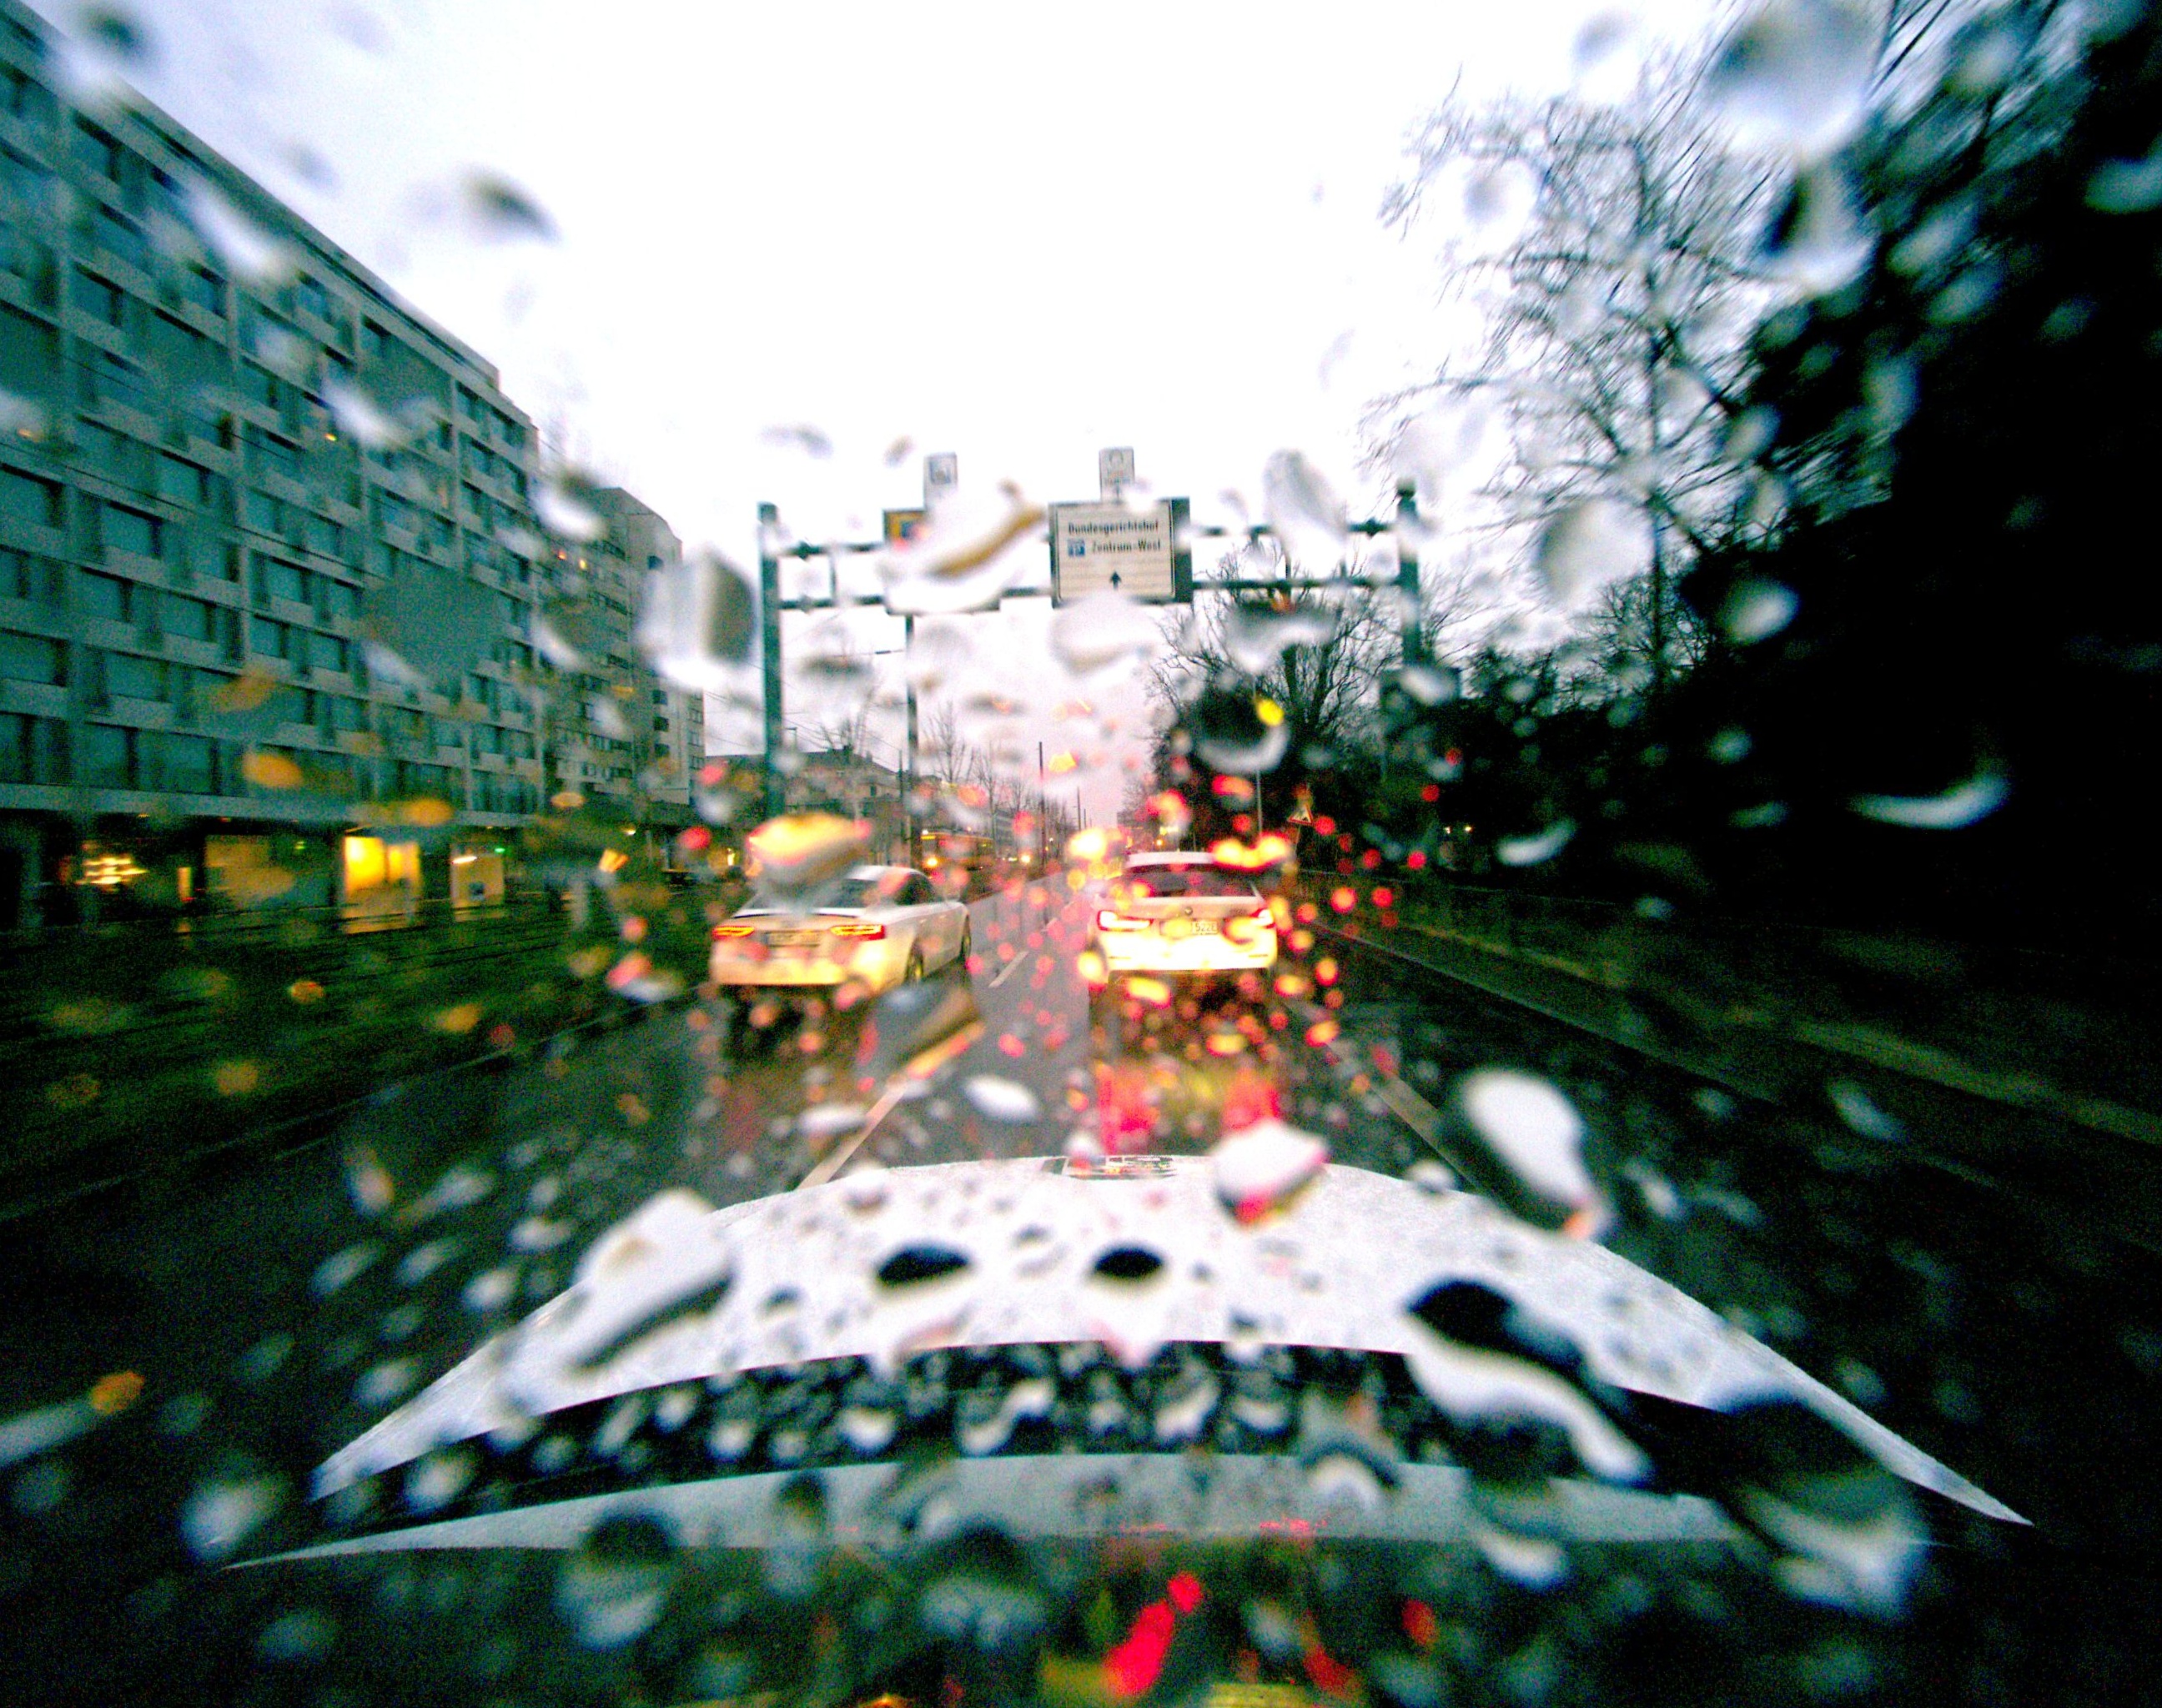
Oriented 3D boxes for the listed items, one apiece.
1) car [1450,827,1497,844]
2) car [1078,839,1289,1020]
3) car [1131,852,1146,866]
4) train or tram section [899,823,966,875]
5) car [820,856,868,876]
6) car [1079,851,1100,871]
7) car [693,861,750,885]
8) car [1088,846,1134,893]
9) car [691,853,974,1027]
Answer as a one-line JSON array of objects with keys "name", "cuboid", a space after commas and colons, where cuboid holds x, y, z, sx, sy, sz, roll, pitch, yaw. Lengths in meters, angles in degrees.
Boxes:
[{"name": "car", "cuboid": [40.593, -1.877, 84.311, 1.825, 1.662, 3.958, -1, 0, -33]}, {"name": "car", "cuboid": [0.895, 0.656, 9.239, 1.755, 1.552, 4.249, -1, 0, -1]}, {"name": "car", "cuboid": [8.992, 0.767, 126.649, 1.982, 2.013, 4.009, -1, 0, 8]}, {"name": "train or tram section", "cuboid": [-10.994, -0.329, 61.266, 2.831, 3.504, 9.162, -3, 0, 2]}, {"name": "car", "cuboid": [-27.540, 1.377, 94.574, 4.909, 2.013, 1.977, -2, 0, -39]}, {"name": "car", "cuboid": [0.849, 0.681, 82.977, 1.986, 2.013, 4.002, -1, 0, 2]}, {"name": "car", "cuboid": [-29.052, 1.503, 65.838, 3.839, 1.797, 1.888, -2, 0, -39]}, {"name": "car", "cuboid": [1.383, 0.678, 37.873, 1.986, 2.013, 4.002, -1, 0, 2]}, {"name": "car", "cuboid": [-2.419, 0.741, 9.144, 1.753, 1.469, 4.253, -1, 0, 1]}]
